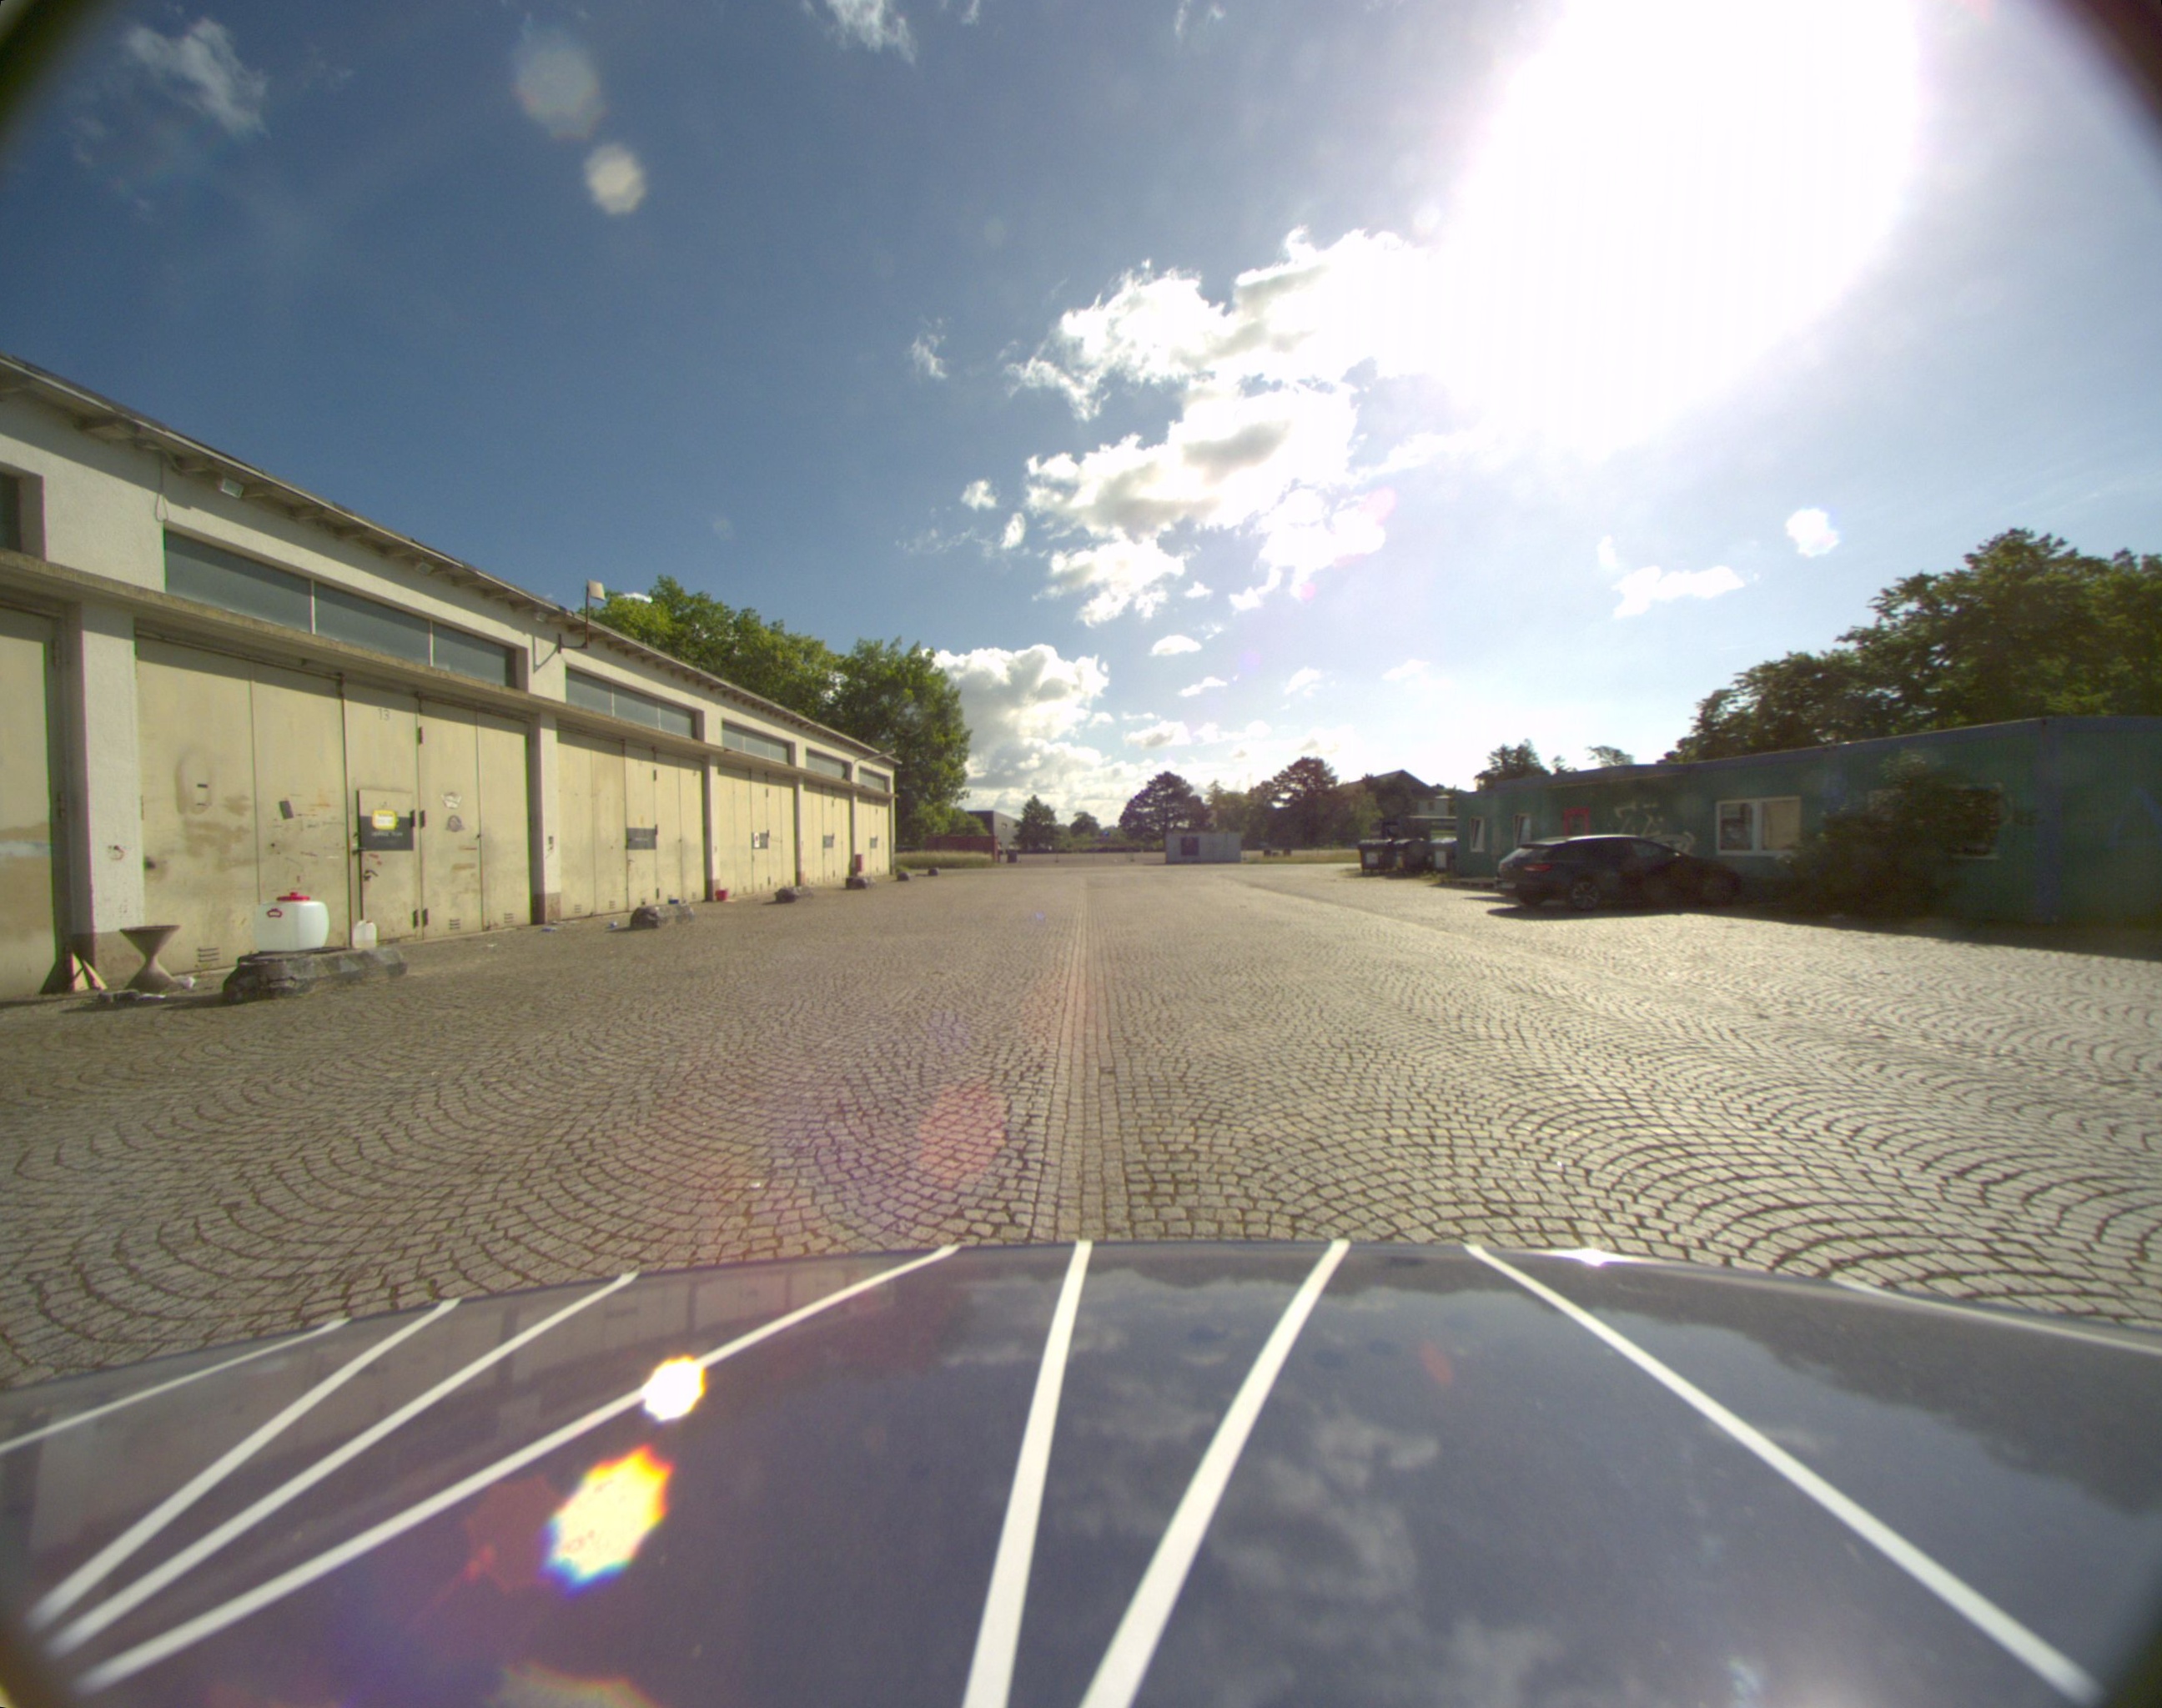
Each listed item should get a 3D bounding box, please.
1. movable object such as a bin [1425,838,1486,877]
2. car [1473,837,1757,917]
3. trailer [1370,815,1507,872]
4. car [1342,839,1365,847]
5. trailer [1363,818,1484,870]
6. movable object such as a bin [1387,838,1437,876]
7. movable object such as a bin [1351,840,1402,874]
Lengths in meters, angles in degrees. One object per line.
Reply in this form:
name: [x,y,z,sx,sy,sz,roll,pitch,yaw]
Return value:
movable object such as a bin: [13.763,0.111,27.975,1.386,1.378,1.534,-1,1,-11]
car: [10.686,0.412,15.436,4.427,1.456,1.999,-1,1,-3]
trailer: [15.340,-0.459,32.796,4.973,2.341,2.095,-1,1,-3]
car: [55.105,-2.293,153.555,3.998,1.573,1.999,-1,1,-3]
trailer: [15.827,-0.466,35.277,4.666,2.285,2.137,-1,1,2]
movable object such as a bin: [12.888,0.099,29.629,1.299,1.414,1.536,-1,1,2]
movable object such as a bin: [12.358,0.119,31.777,1.389,1.378,1.531,-2,2,-44]
